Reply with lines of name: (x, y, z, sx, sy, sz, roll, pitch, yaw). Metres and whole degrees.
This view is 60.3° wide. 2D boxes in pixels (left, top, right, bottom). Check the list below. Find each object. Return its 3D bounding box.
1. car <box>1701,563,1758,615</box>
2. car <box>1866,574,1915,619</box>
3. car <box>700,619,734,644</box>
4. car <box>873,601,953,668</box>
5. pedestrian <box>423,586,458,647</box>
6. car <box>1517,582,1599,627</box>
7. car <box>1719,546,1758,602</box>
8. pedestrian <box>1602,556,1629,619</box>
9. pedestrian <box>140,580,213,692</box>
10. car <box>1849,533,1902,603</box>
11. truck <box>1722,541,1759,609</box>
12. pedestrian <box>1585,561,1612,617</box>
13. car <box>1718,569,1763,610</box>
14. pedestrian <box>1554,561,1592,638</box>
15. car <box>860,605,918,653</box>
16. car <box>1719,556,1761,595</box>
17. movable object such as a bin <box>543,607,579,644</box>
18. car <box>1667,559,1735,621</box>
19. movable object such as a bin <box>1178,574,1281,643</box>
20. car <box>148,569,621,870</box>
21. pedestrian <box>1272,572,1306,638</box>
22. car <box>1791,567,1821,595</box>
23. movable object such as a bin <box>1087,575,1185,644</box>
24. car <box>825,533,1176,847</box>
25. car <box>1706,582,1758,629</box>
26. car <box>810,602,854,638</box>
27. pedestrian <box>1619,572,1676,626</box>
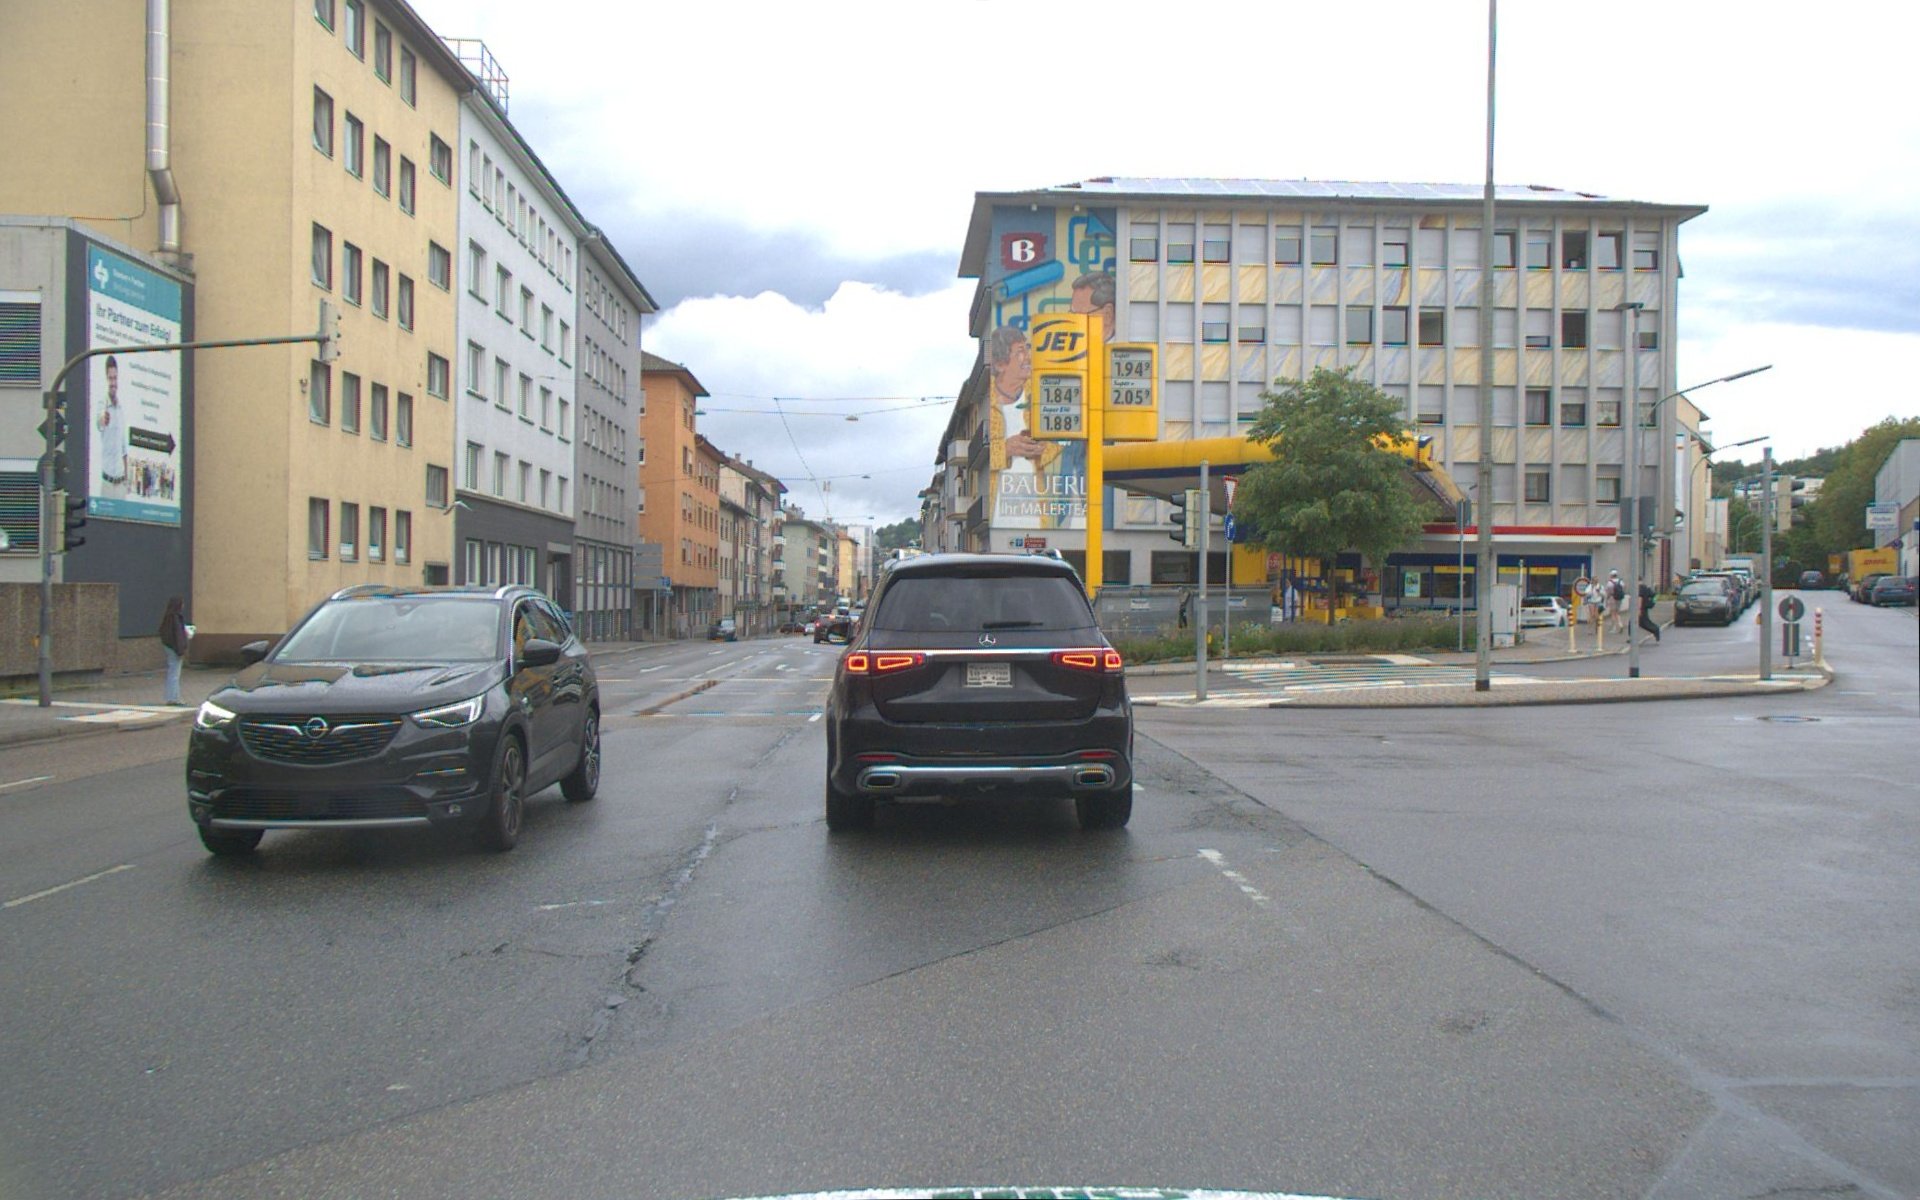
car: (30.408, -0.415, 65.335, 1.954, 1.897, 4.575, 2, -1, 26)
car: (45.902, -0.154, 81.681, 1.955, 2.049, 3.994, 1, -1, 28)
car: (-15.937, 2.062, 108.583, 1.854, 1.484, 4.545, 2, -1, -4)
car: (-1.325, 0.922, 45.424, 2.035, 1.678, 4.292, 2, 0, -3)
pedestrian: (-14.942, 0.468, 47.618, 0.702, 1.719, 0.811, 2, -1, -1)
car: (22.829, 0.215, 63.053, 1.959, 1.542, 4.404, -2, -3, 34)
car: (45.283, -1.484, 96.161, 1.954, 3.025, 4.575, 1, -1, 26)
pedestrian: (18.978, -0.349, 47.890, 0.663, 1.788, 0.732, 2, -1, 20)
pedestrian: (-12.340, 0.561, 26.070, 0.702, 1.719, 0.811, 2, -1, -1)
car: (52.256, -1.776, 94.485, 2.330, 3.752, 4.988, 1, -1, 27)
truck: (48.463, -1.538, 102.698, 1.954, 3.982, 5.480, 1, -1, 26)
pedestrian: (18.008, -0.307, 46.632, 0.570, 1.541, 0.472, 3, -1, -43)
car: (39.431, -0.516, 83.538, 1.954, 1.897, 4.575, 2, -1, 26)
pedestrian: (21.049, -0.006, 56.792, 0.984, 2.612, 1.149, 2, -1, 12)
car: (-2.685, 1.058, 62.340, 2.035, 1.678, 4.292, 2, 0, -3)
car: (41.976, -1.292, 88.958, 1.954, 1.897, 4.575, 2, -1, 26)
movable object such as a bin: (-15.000, 0.943, 62.177, 1.055, 1.347, 1.190, 2, -1, -3)
car: (24.765, -0.309, 55.197, 1.954, 1.897, 4.575, 2, -1, 26)
movable object such as a bin: (6.476, 0.213, 39.894, 2.112, 1.582, 1.772, -1, -1, -2)
car: (-3.551, 0.657, 11.104, 1.771, 1.622, 4.293, 0, 0, -2)
pedestrian: (8.268, 0.129, 41.550, 0.651, 1.613, 0.847, 2, -1, 0)
car: (65.939, -1.477, 128.905, 1.955, 2.049, 3.994, 1, -1, 28)
movable object such as a bin: (4.210, 0.239, 39.726, 2.112, 1.602, 1.772, 0, -1, -2)
car: (0.132, 0.549, 12.112, 2.035, 1.796, 4.608, 2, 0, -3)
car: (33.260, 0.265, 71.226, 1.954, 1.897, 4.575, 2, -1, 26)
car: (-6.447, 0.997, 83.506, 2.035, 1.678, 4.292, 2, 0, -3)
pedestrian: (17.935, -0.028, 43.159, 0.910, 1.376, 1.096, 3, -1, -43)
